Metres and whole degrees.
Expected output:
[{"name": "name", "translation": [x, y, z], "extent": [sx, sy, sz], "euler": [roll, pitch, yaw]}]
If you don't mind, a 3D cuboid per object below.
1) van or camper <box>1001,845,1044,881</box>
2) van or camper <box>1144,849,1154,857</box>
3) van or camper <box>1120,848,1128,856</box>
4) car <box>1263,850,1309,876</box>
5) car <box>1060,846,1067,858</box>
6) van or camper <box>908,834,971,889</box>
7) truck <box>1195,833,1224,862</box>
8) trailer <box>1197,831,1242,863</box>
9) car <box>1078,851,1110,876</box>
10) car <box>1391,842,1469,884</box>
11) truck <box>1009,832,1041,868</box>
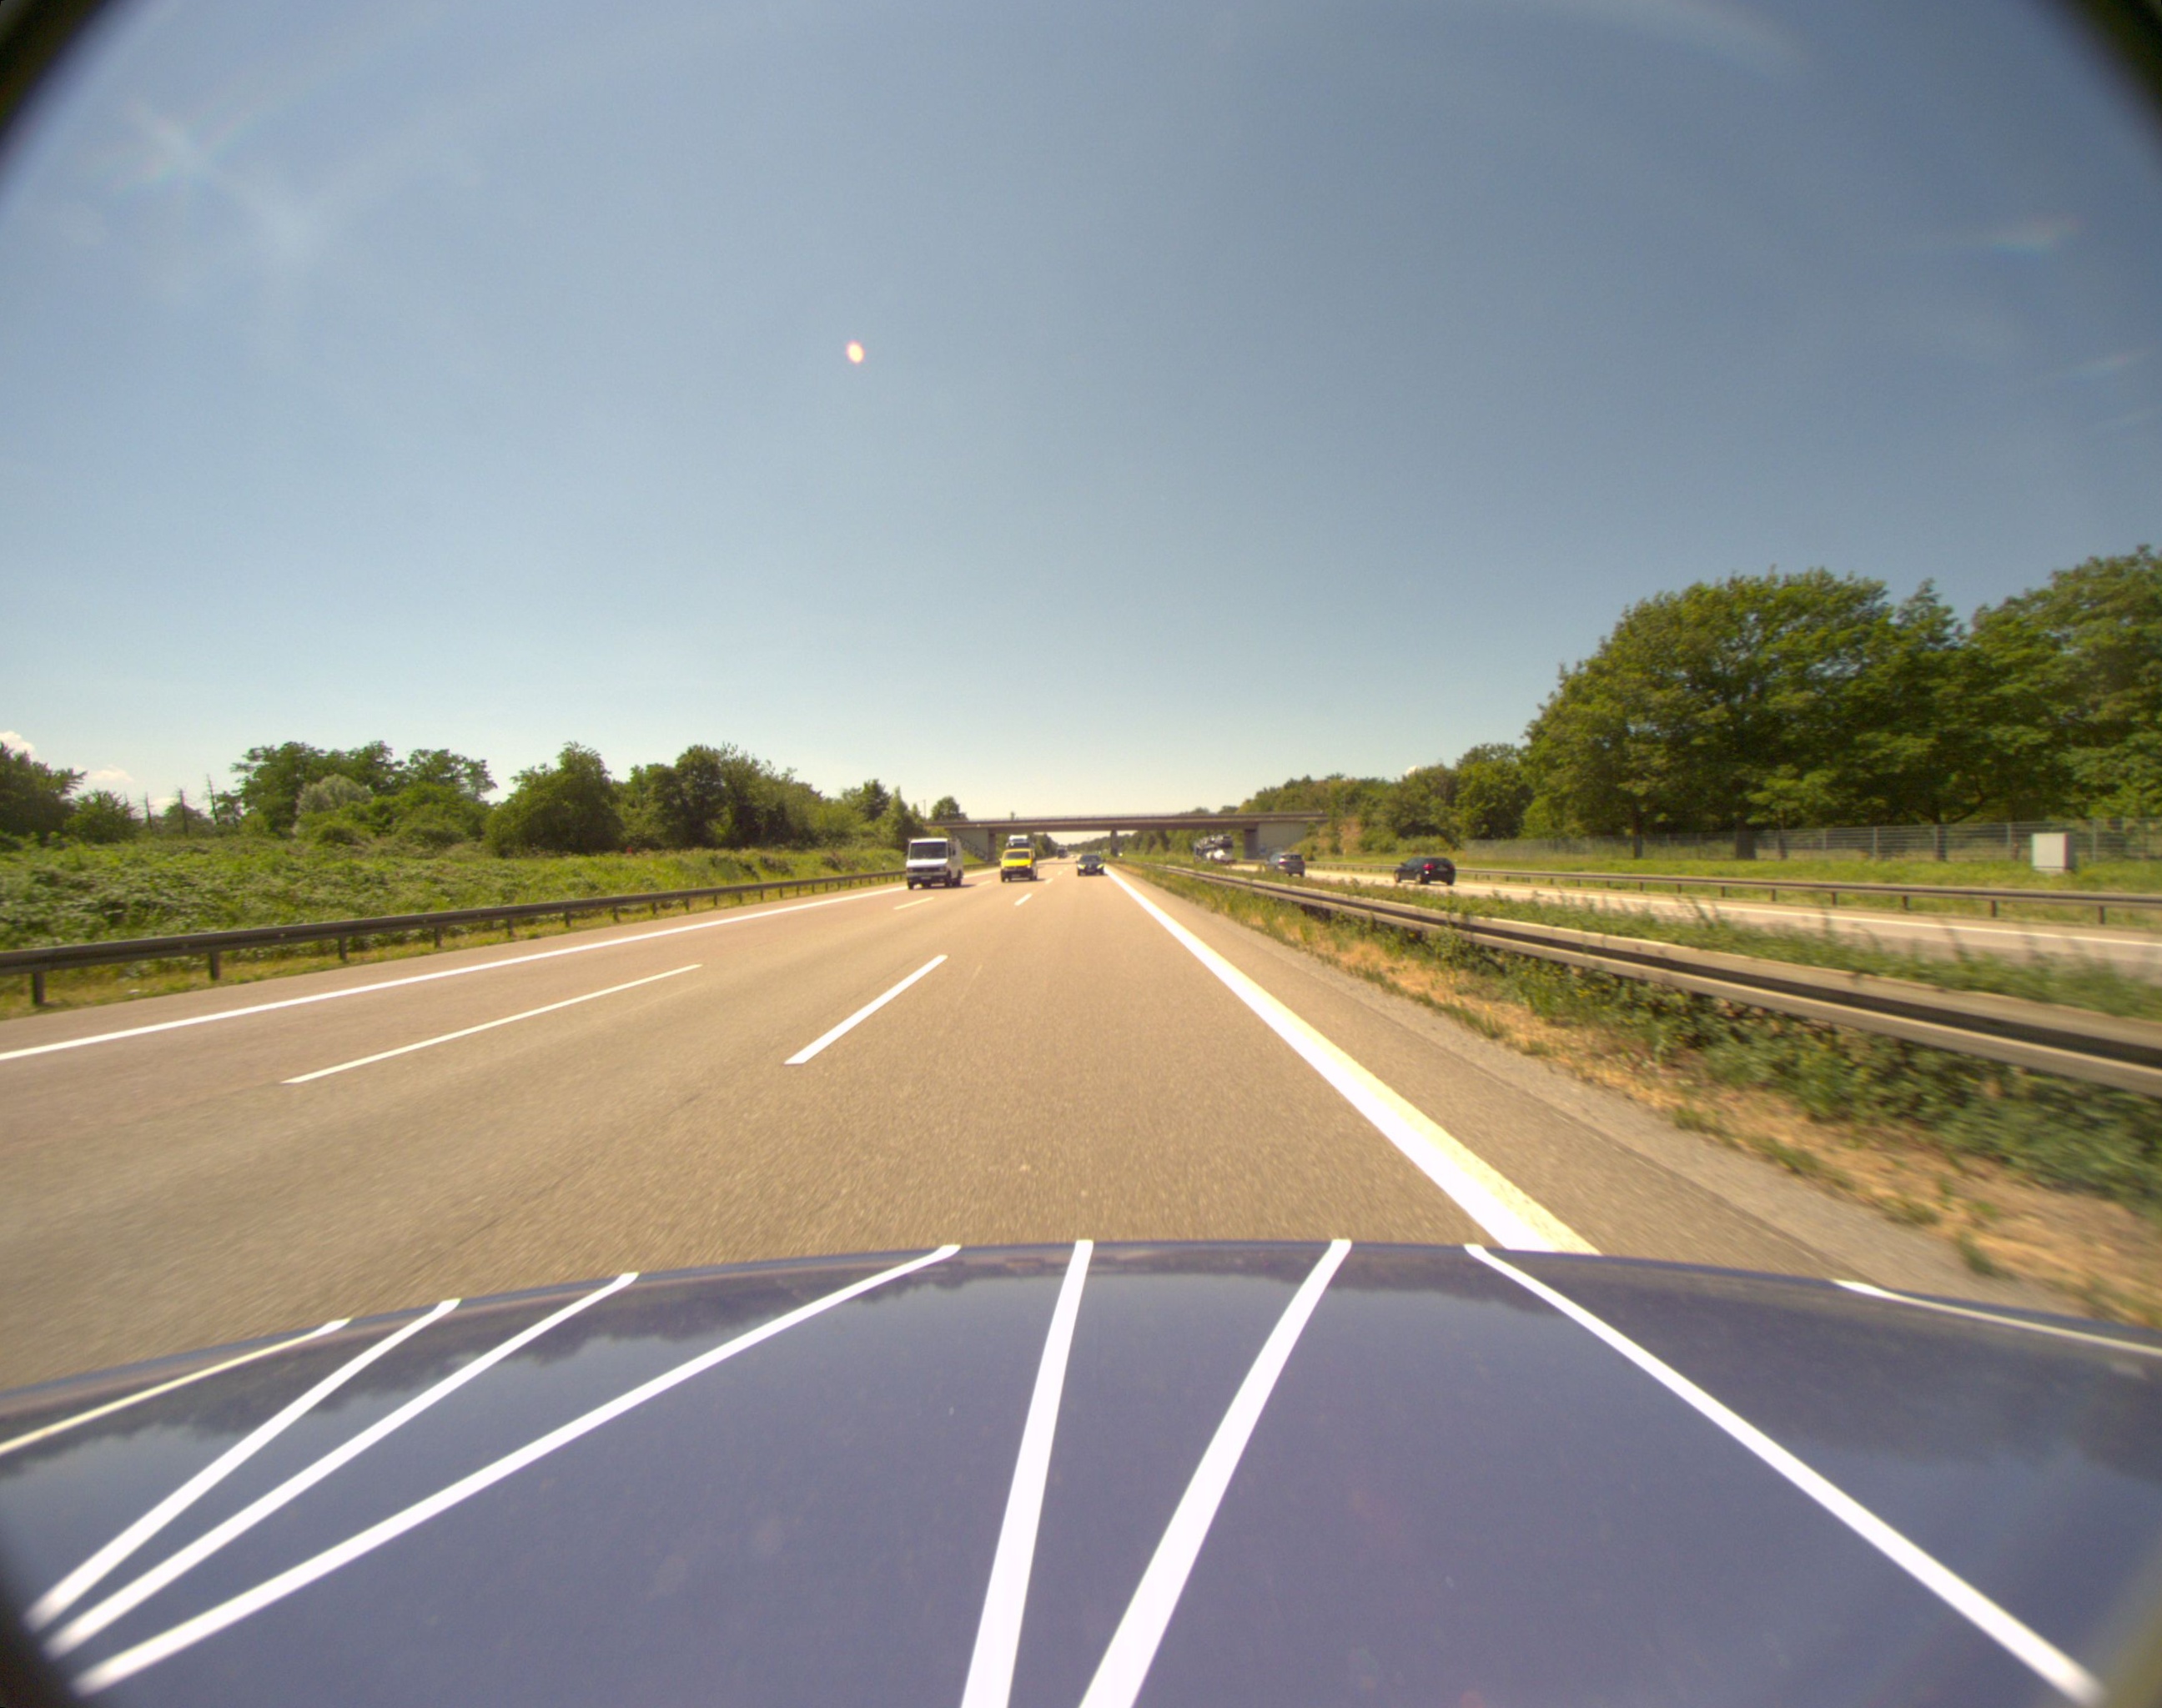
[{"name": "van or camper", "translation": [-3.552, 0.502, 47.013], "extent": [2.063, 1.992, 5.883], "euler": [-2, 0, 1]}, {"name": "van or camper", "translation": [16.035, -0.349, 179.679], "extent": [1.999, 1.859, 4.455], "euler": [0, 1, -1]}, {"name": "van or camper", "translation": [10.597, -0.571, 187.987], "extent": [1.715, 1.759, 3.999], "euler": [-3, 1, 0]}, {"name": "car", "translation": [13.194, 0.528, 49.140], "extent": [1.797, 1.569, 4.211], "euler": [0, 1, 0]}, {"name": "car", "translation": [-5.960, -0.779, 264.066], "extent": [2.298, 3.886, 9.267], "euler": [0, 1, -1]}, {"name": "van or camper", "translation": [-7.534, 0.332, 41.155], "extent": [2.119, 2.687, 6.366], "euler": [-2, 1, 0]}, {"name": "truck", "translation": [18.918, -0.938, 112.336], "extent": [2.886, 3.952, 7.371], "euler": [2, 1, 0]}, {"name": "trailer", "translation": [18.988, -0.913, 105.678], "extent": [2.886, 3.955, 17.472], "euler": [2, 0, 0]}, {"name": "car", "translation": [0.800, 0.590, 48.970], "extent": [1.894, 1.541, 4.038], "euler": [0, 1, -1]}, {"name": "car", "translation": [17.720, 0.428, 38.810], "extent": [1.998, 2.002, 4.272], "euler": [1, 1, 0]}, {"name": "truck", "translation": [-6.886, -0.516, 95.706], "extent": [2.806, 4.022, 13.352], "euler": [-3, 1, 0]}]
